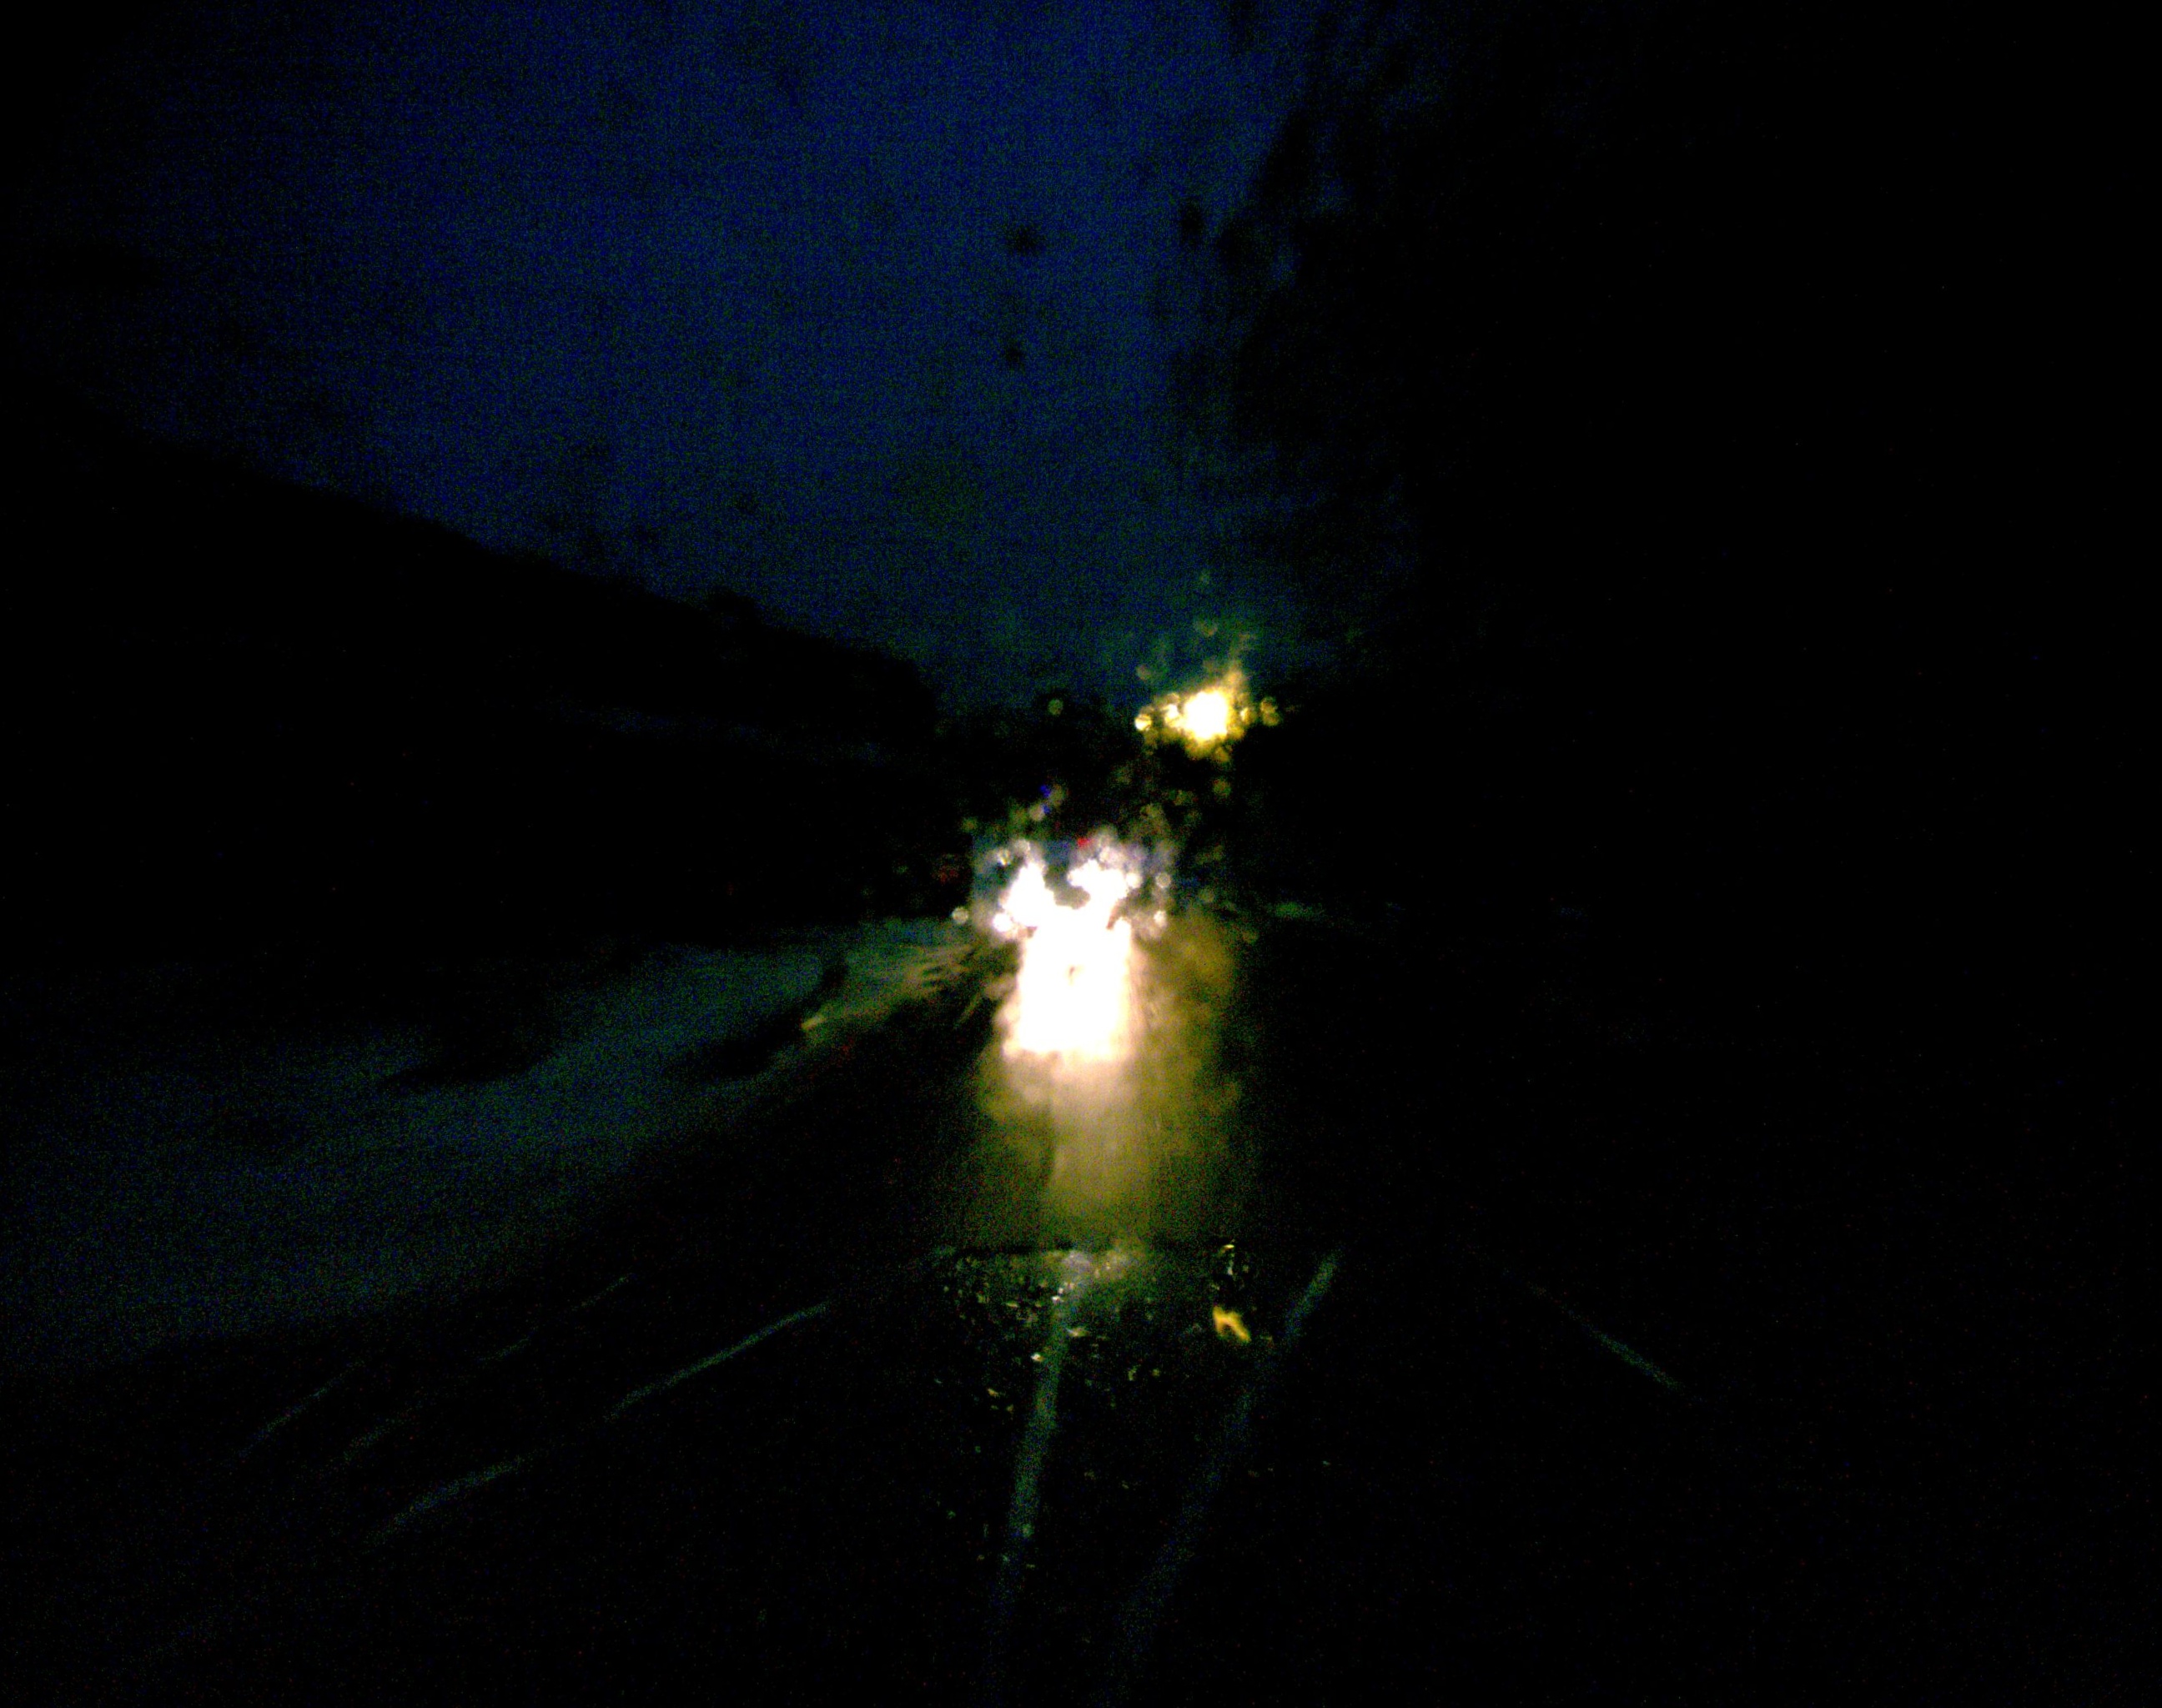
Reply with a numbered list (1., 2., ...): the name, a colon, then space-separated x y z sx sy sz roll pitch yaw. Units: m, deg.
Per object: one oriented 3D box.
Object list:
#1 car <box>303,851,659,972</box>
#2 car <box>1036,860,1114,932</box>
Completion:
1. car: -9.288 0.811 11.927 4.403 1.647 1.863 1 0 9
2. car: -0.065 0.934 18.393 1.649 1.446 3.681 -2 0 2
